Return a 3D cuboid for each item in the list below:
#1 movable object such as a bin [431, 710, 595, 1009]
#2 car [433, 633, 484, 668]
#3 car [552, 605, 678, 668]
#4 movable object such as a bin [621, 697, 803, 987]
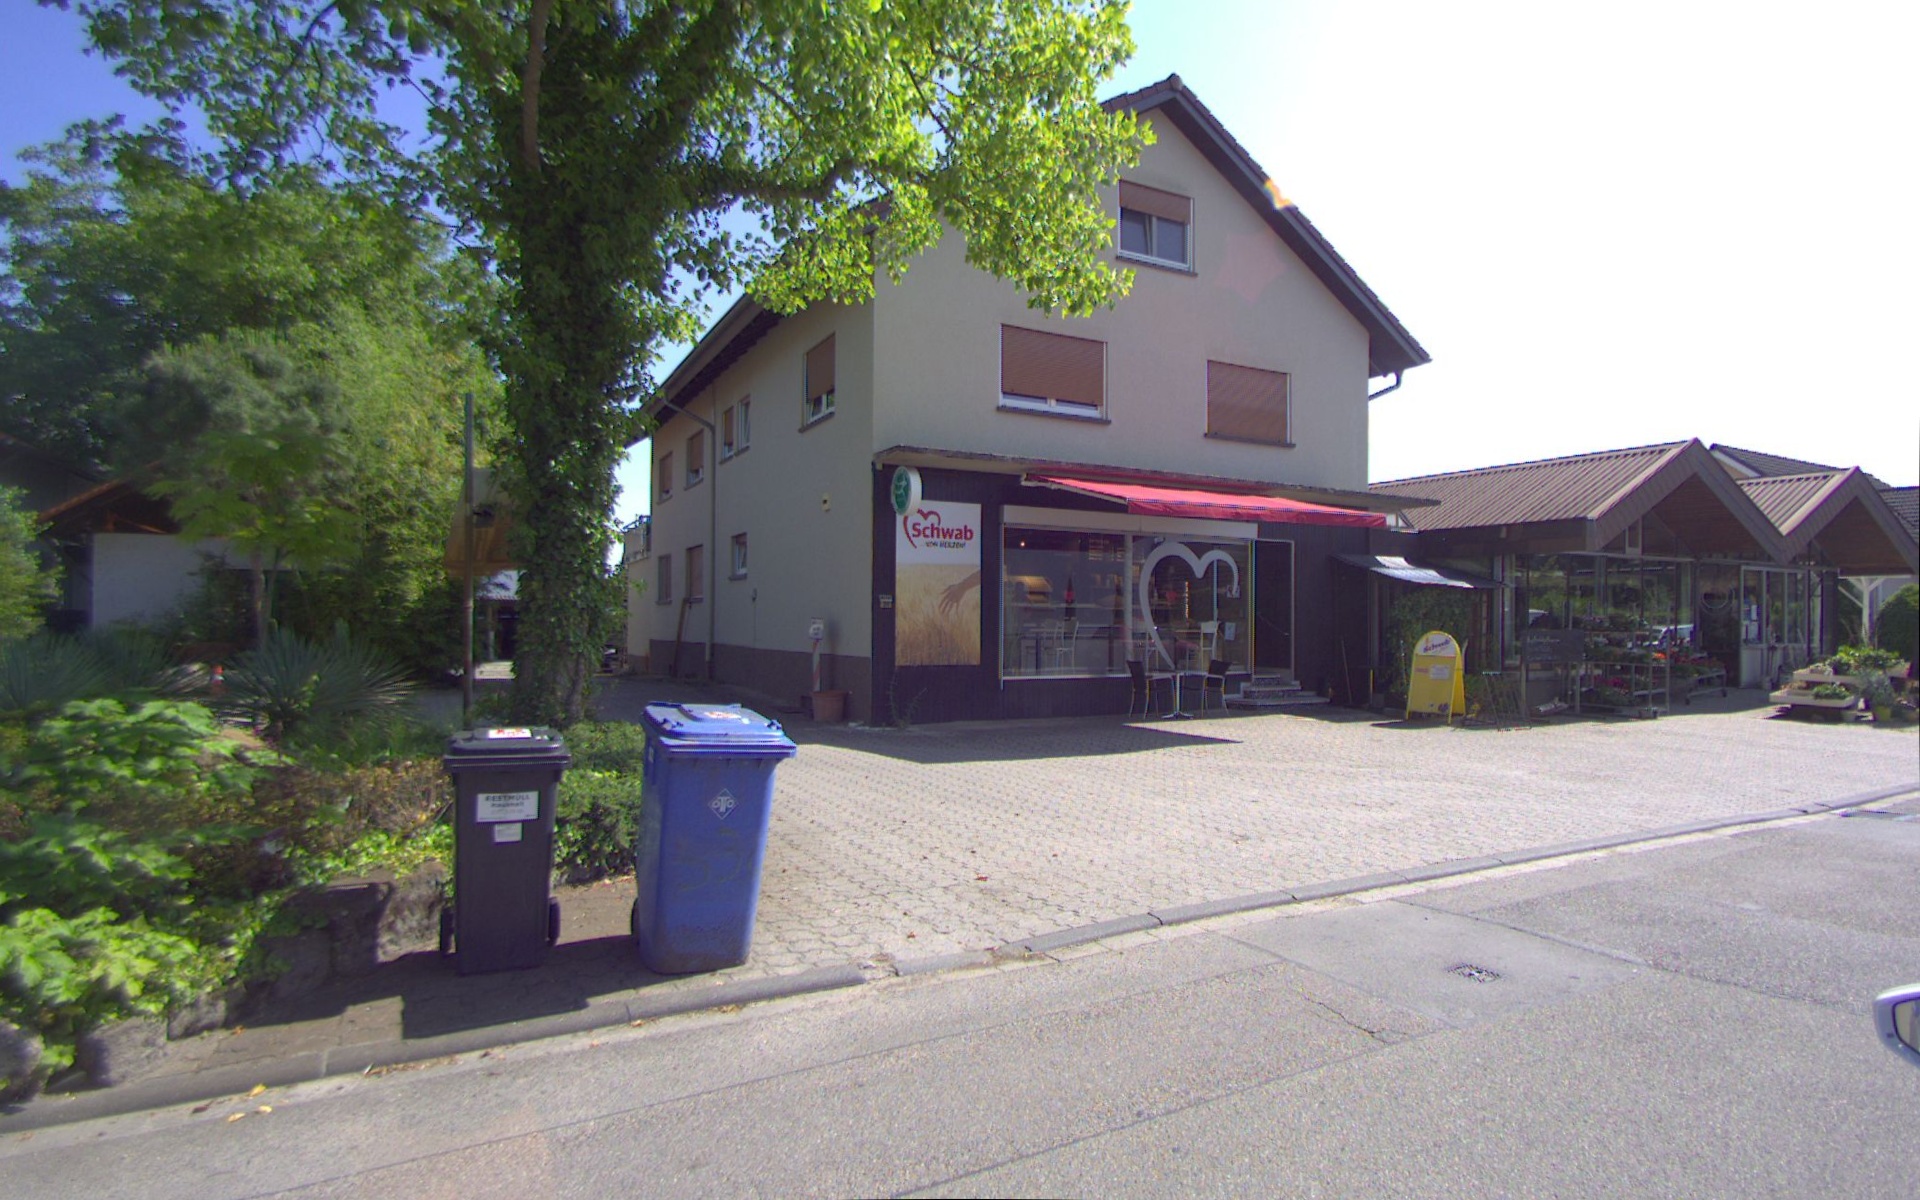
[{"bbox_3d":[-1.857,1.014,4.152,0.561,1.038,0.580,1,0,-29],"label":"movable object such as a bin"},{"bbox_3d":[-22.468,2.238,45.088,1.877,1.461,3.976,1,-2,-25],"label":"car"},{"bbox_3d":[-14.261,1.496,41.566,4.595,2.441,2.178,1,-2,-30],"label":"car"},{"bbox_3d":[-1.118,1.010,4.463,0.605,1.068,0.728,1,0,-29],"label":"movable object such as a bin"}]
